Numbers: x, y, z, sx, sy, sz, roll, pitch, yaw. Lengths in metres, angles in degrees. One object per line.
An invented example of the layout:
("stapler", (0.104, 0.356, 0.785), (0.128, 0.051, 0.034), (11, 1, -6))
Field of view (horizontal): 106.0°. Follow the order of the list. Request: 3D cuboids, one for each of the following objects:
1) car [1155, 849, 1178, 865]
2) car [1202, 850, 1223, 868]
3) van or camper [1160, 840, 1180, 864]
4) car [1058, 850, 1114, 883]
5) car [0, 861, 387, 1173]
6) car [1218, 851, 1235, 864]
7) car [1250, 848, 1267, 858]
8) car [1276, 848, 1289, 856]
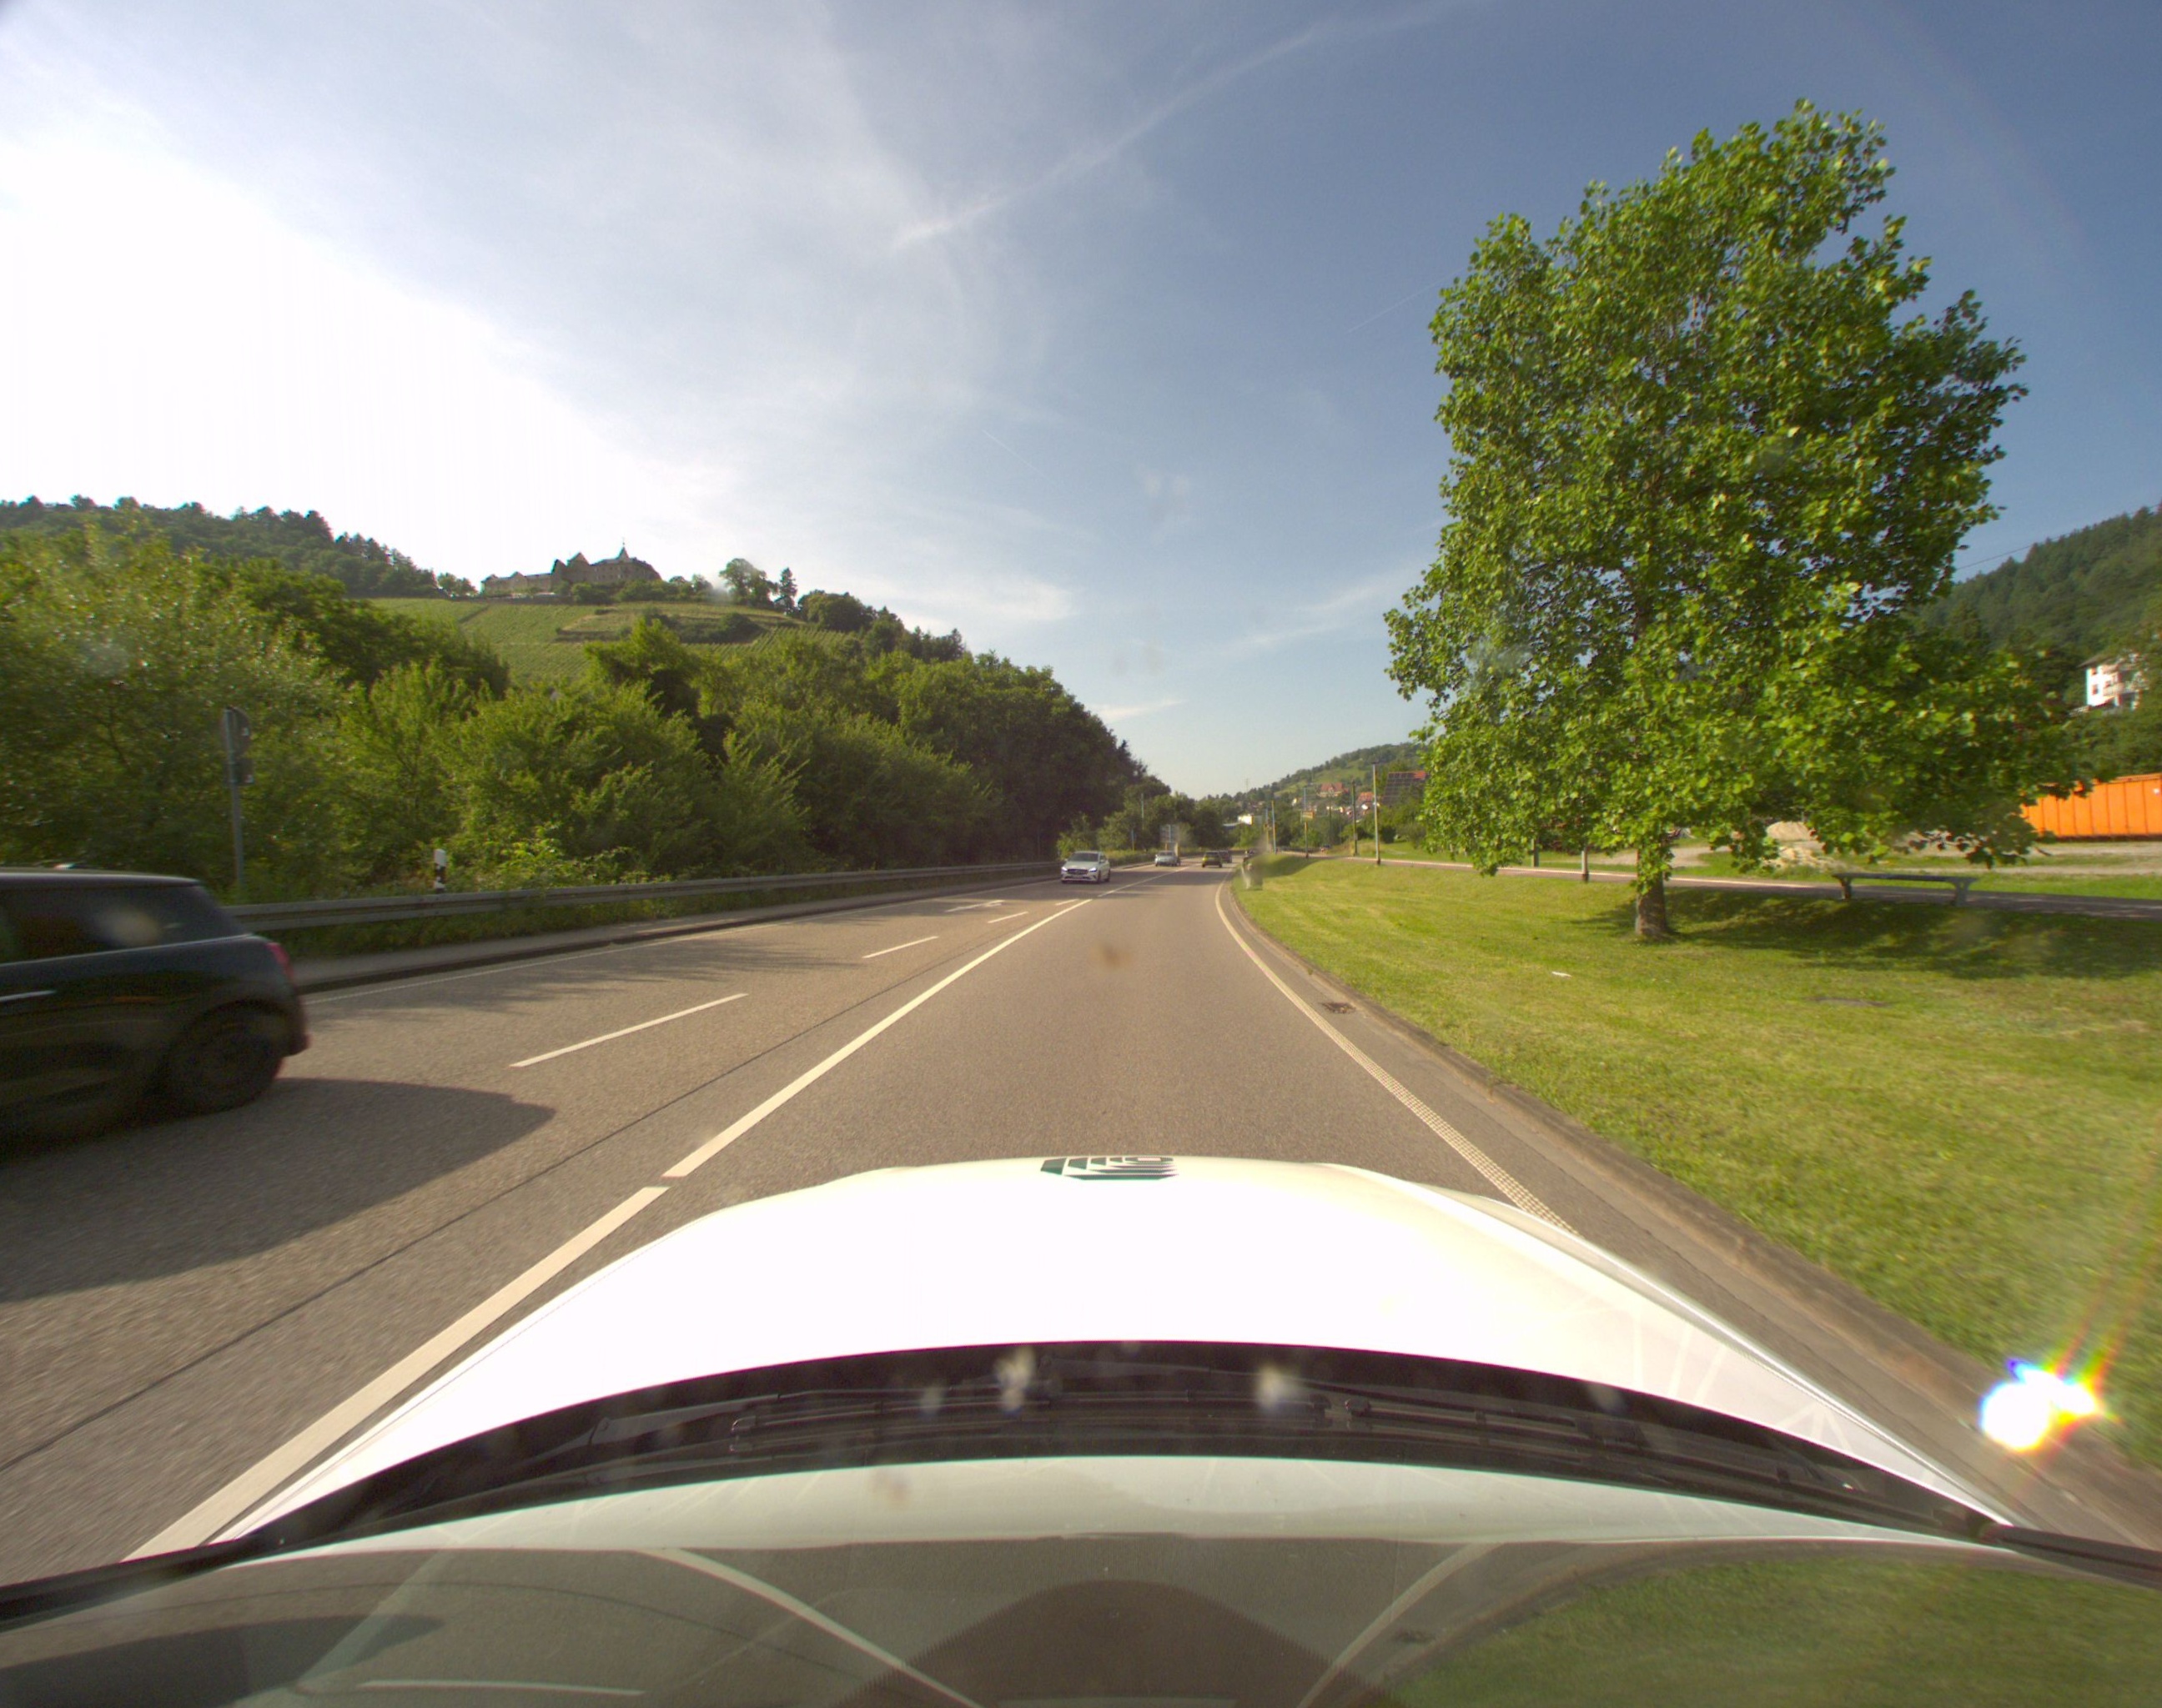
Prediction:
("car", (8.000, 0.253, 75.899), (1.638, 1.436, 4.620), (1, 1, 11))
("car", (11.770, 0.414, 72.898), (1.718, 1.457, 3.419), (-2, 0, 9))
("van or camper", (8.827, -0.204, 80.174), (1.592, 2.328, 4.072), (1, 1, 11))
("car", (0.325, 0.561, 39.223), (1.933, 1.486, 4.598), (0, 1, 10))
("car", (-5.820, 0.766, 3.559), (1.685, 1.402, 4.209), (0, 0, 6))
("car", (16.872, 0.396, 94.198), (1.828, 1.459, 3.724), (-2, 0, 11))
("car", (27.539, -0.106, 126.371), (1.790, 1.453, 3.667), (-2, 0, 23))
("car", (36.830, -0.413, 148.454), (1.793, 1.408, 3.793), (-2, 0, 21))
